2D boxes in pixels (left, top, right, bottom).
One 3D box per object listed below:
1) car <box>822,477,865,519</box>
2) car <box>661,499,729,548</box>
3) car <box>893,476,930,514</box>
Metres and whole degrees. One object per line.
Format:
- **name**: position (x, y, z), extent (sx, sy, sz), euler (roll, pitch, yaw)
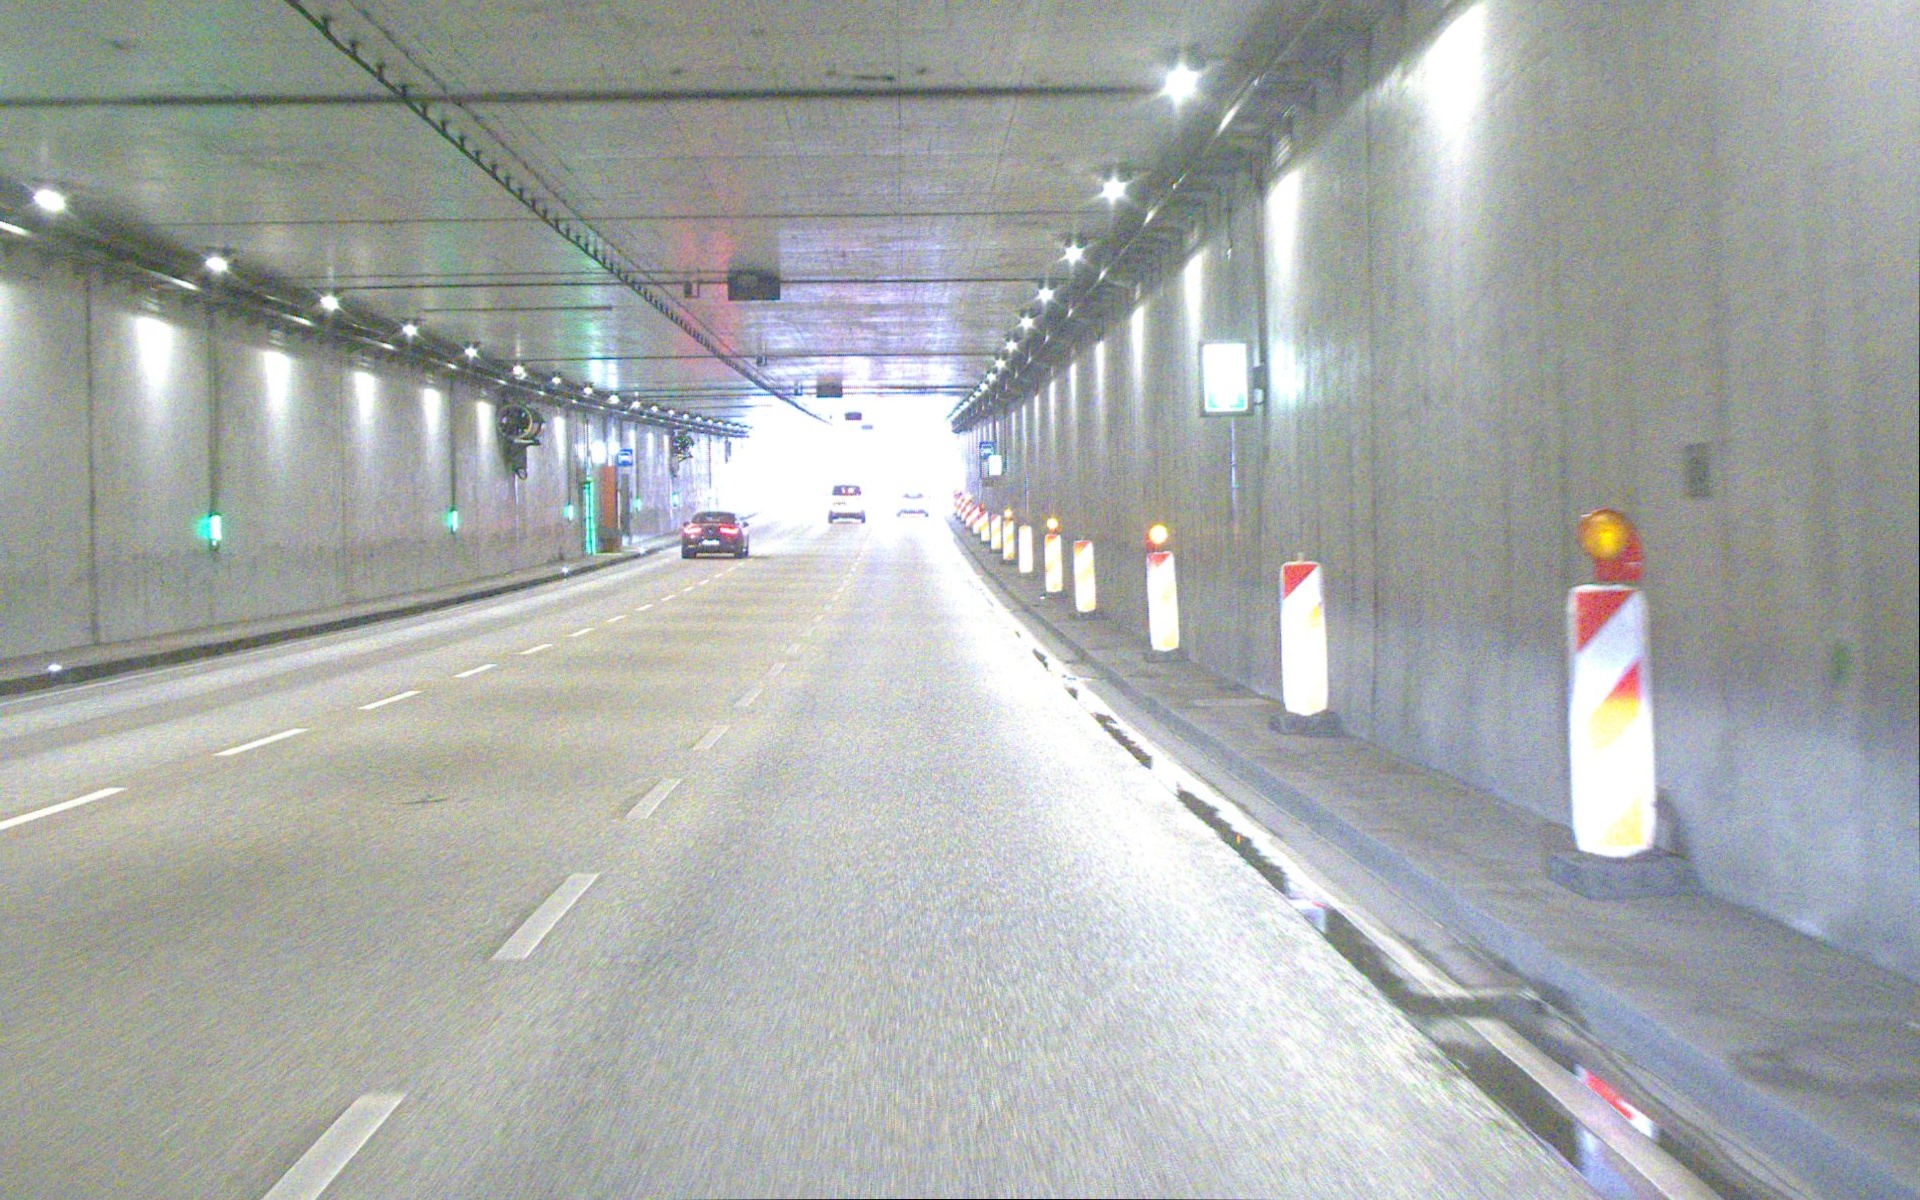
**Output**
- **car**: position (-5.727, -5.016, 169.404), extent (1.993, 2.007, 4.000), euler (0, 1, -1)
- **car**: position (-8.114, -2.348, 105.026), extent (1.993, 1.443, 4.315), euler (1, 1, -5)
- **car**: position (-2.605, -5.691, 186.002), extent (1.993, 2.007, 4.000), euler (0, 1, -1)
